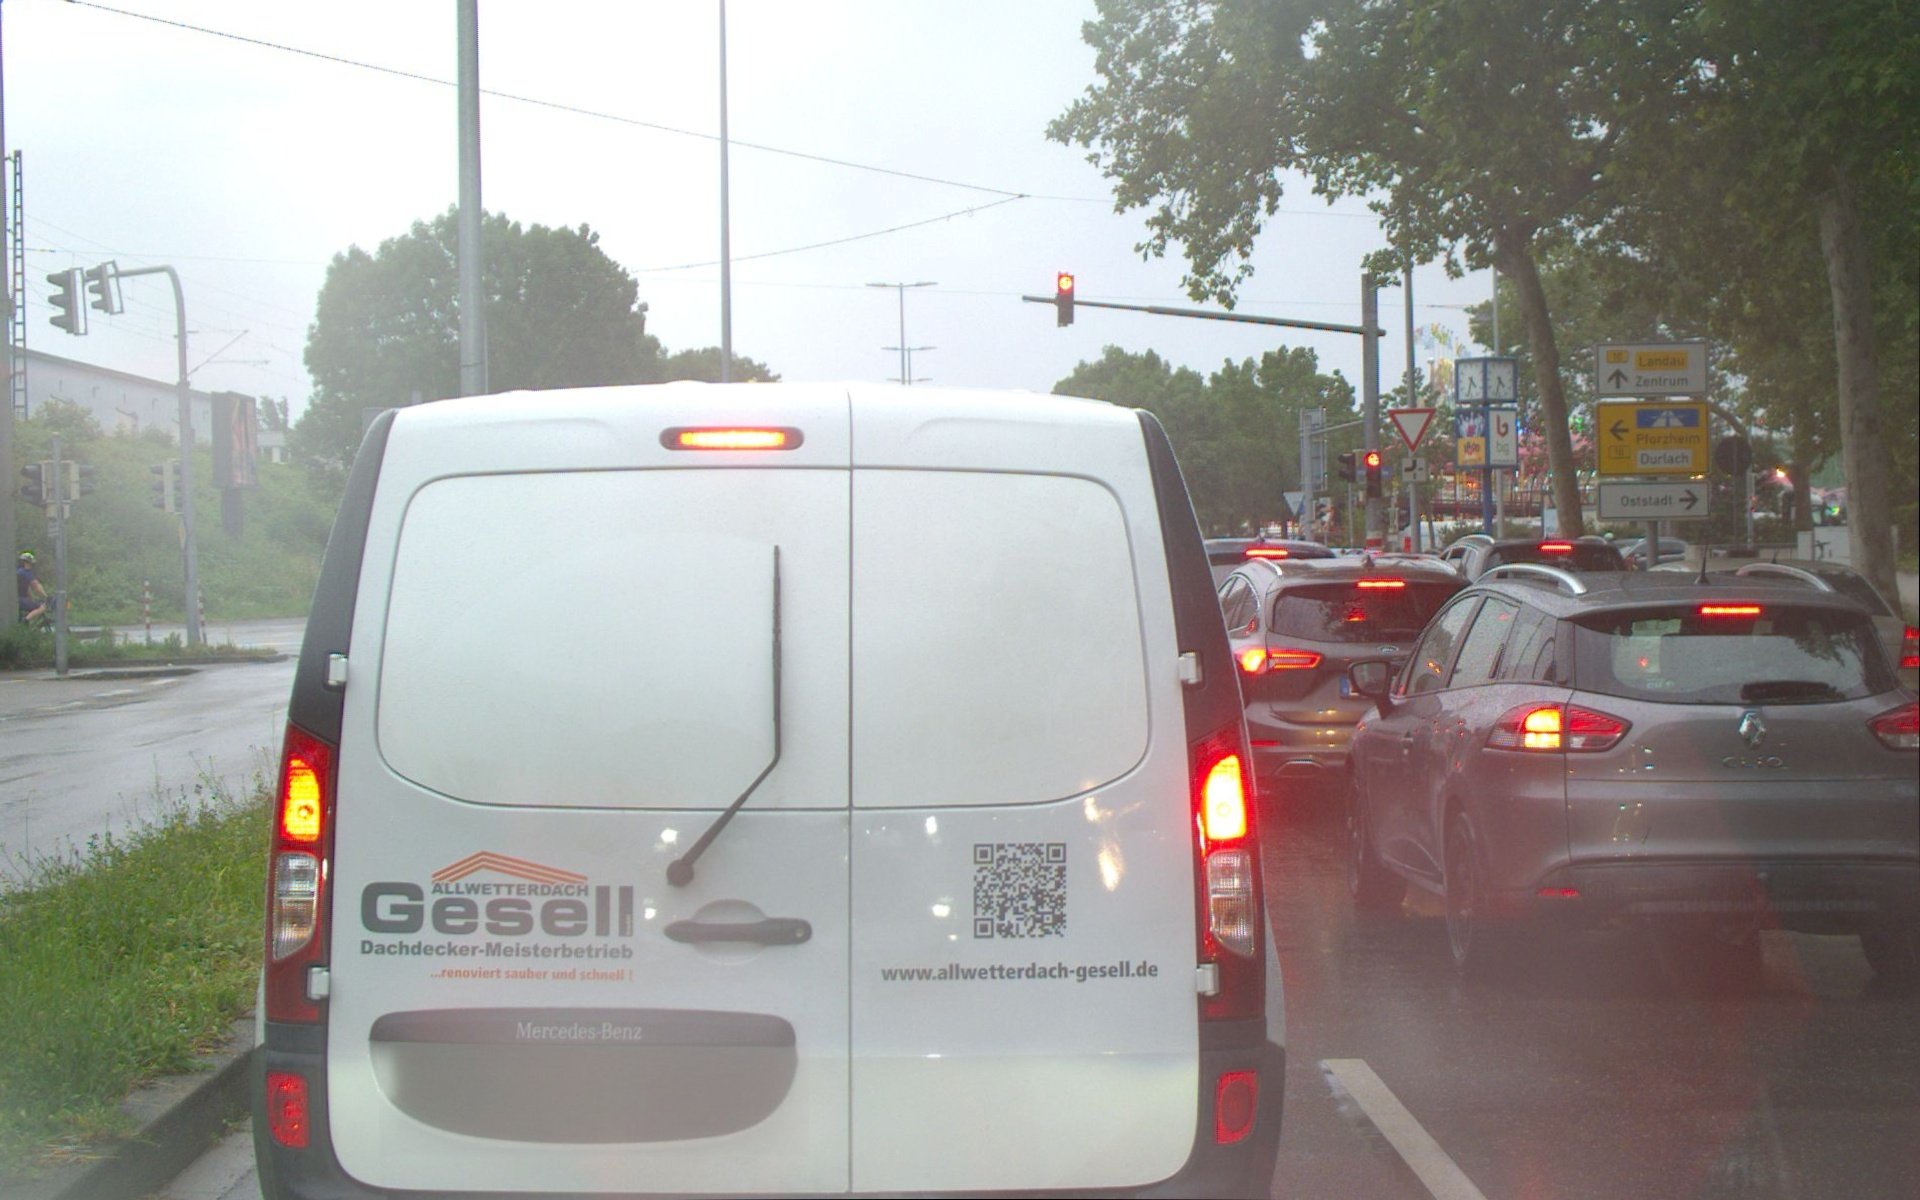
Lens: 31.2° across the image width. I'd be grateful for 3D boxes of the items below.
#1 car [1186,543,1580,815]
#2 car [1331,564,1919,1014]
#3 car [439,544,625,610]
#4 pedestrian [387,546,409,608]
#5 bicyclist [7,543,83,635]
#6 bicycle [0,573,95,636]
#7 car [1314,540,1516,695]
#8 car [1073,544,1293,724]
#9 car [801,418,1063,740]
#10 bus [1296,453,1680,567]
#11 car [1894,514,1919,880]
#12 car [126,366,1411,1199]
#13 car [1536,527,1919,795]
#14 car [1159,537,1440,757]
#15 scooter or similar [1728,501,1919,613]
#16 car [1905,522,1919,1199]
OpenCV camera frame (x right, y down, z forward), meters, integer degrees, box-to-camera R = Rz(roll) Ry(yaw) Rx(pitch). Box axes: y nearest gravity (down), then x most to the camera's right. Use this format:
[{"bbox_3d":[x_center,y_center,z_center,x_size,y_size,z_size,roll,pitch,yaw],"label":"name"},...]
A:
[{"bbox_3d":[2.429,0.398,20.630,1.854,1.455,3.843,0,1,-1],"label":"car"},{"bbox_3d":[2.513,0.598,13.093,1.683,1.403,3.843,1,1,-1],"label":"car"},{"bbox_3d":[-10.882,-0.593,87.506,4.235,1.590,2.000,-2,1,-35],"label":"car"},{"bbox_3d":[-15.708,-0.641,96.158,0.543,1.710,0.563,1,0,-4],"label":"pedestrian"},{"bbox_3d":[-14.781,-0.183,55.523,1.040,1.445,0.729,-2,2,-25],"label":"bicyclist"},{"bbox_3d":[-14.803,0.059,55.579,1.040,0.949,2.889,-2,2,-25],"label":"bicycle"},{"bbox_3d":[5.053,0.166,38.630,1.708,1.644,3.843,0,1,-1],"label":"car"},{"bbox_3d":[2.113,0.295,33.520,1.854,1.644,3.843,0,1,-1],"label":"car"},{"bbox_3d":[-0.221,-0.189,26.436,1.854,2.288,3.843,0,1,-1],"label":"car"},{"bbox_3d":[16.962,-2.909,110.872,11.970,3.411,2.315,-1,1,0],"label":"bus"},{"bbox_3d":[5.320,0.466,14.161,1.710,1.688,4.272,1,0,-1],"label":"car"},{"bbox_3d":[-0.320,0.476,7.648,1.993,1.770,4.585,0,1,-1],"label":"car"},{"bbox_3d":[5.227,0.340,23.346,1.876,1.607,4.000,1,1,-1],"label":"car"},{"bbox_3d":[2.670,0.322,27.857,1.854,1.644,3.843,0,1,-1],"label":"car"},{"bbox_3d":[19.987,-0.979,77.057,1.890,2.437,5.316,-1,1,-41],"label":"scooter or similar"},{"bbox_3d":[2.973,0.644,5.406,1.747,1.549,4.091,0,1,-1],"label":"car"}]
